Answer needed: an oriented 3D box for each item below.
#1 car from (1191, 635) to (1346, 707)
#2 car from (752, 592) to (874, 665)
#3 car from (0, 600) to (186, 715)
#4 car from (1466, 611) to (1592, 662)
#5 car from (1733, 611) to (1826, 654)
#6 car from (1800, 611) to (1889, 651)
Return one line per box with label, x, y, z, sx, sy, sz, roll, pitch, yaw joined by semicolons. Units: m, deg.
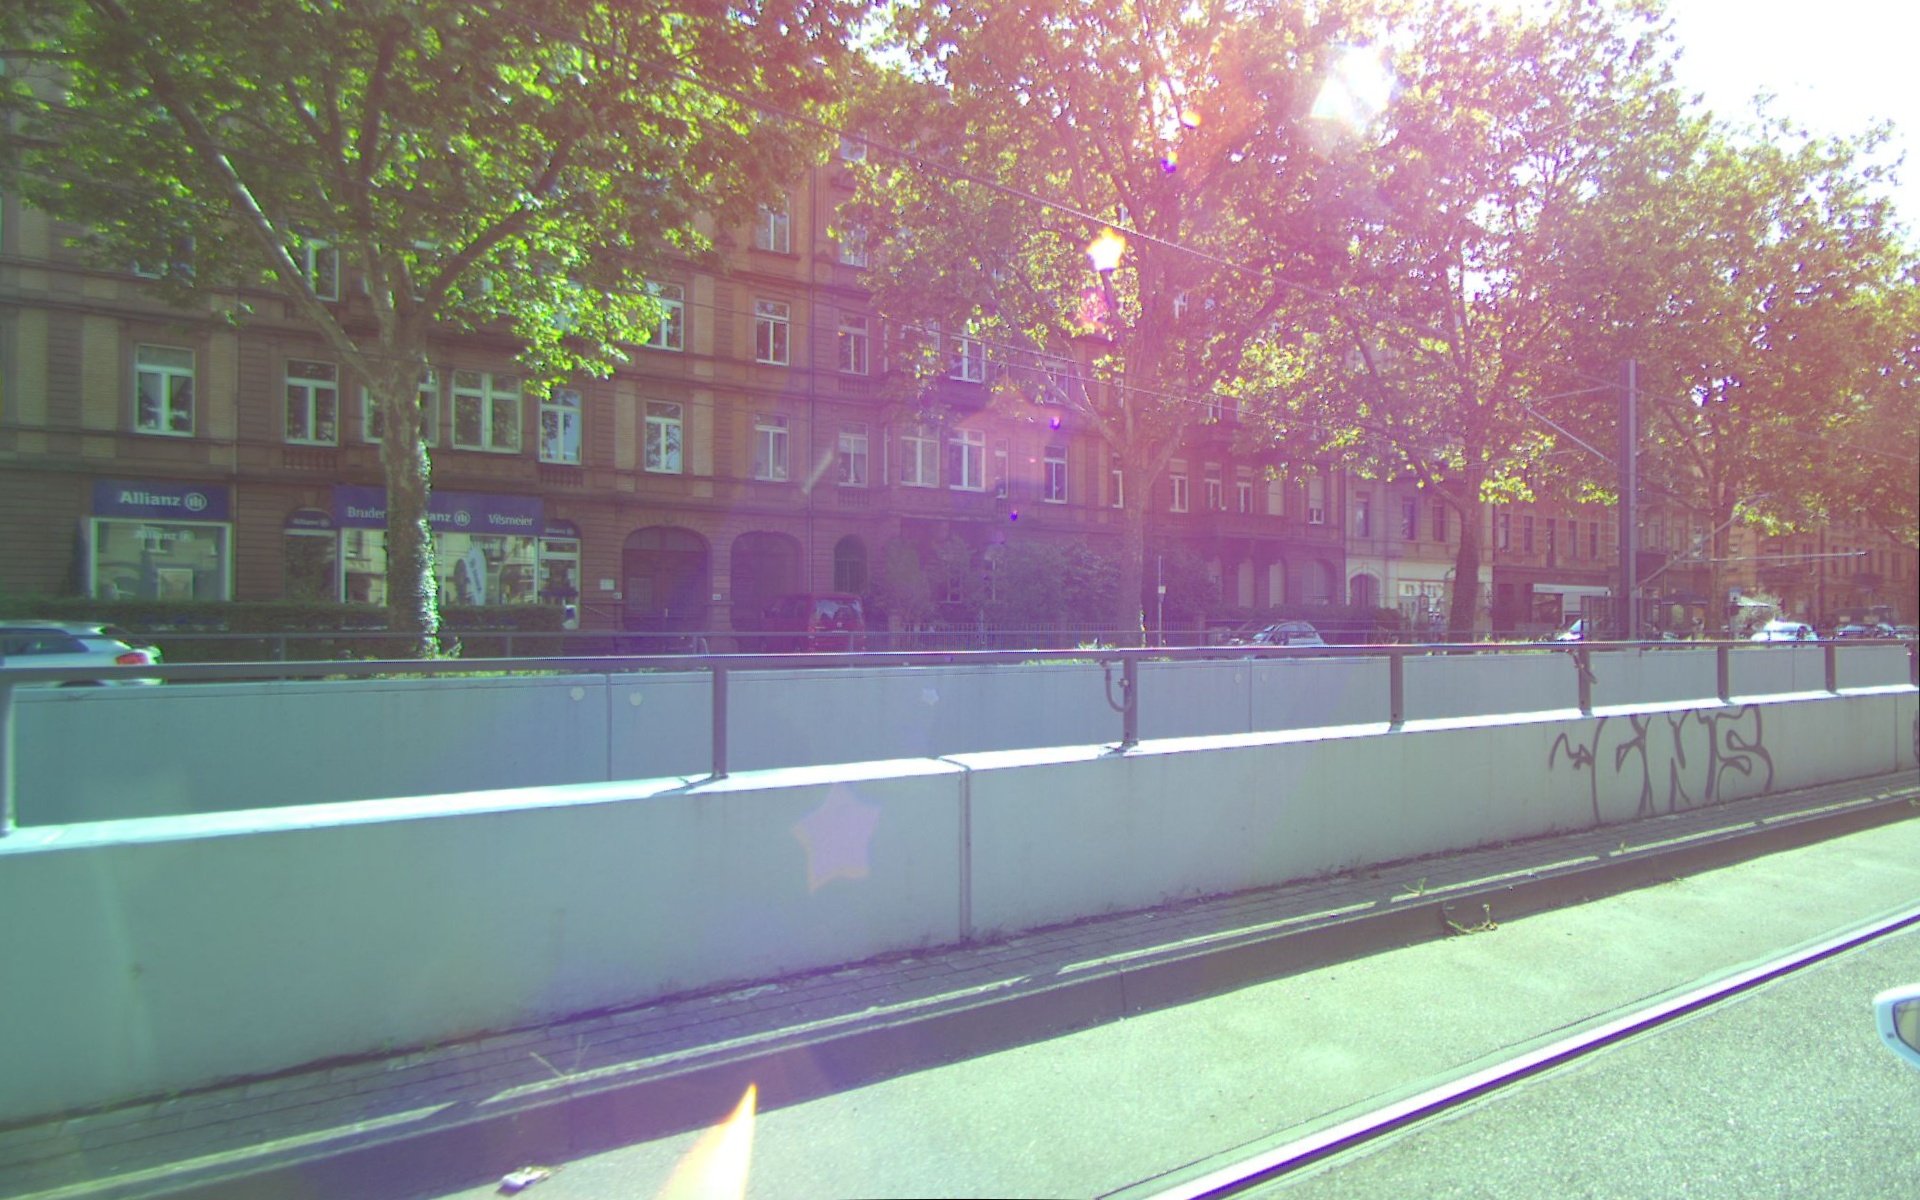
car;8.173;1.847;26.595;3.678;1.713;1.714;-1;-2;-24
car;-4.331;0.802;29.084;1.977;1.944;4.379;1;-1;-31
car;-13.245;0.803;13.778;3.956;1.501;1.635;0;-3;-31
car;19.437;1.212;34.288;3.950;1.658;1.985;1;-1;-28
car;35.682;1.419;43.729;3.953;1.750;1.830;0;-3;-31
car;40.300;1.417;45.753;3.953;1.750;1.830;0;-3;-31
